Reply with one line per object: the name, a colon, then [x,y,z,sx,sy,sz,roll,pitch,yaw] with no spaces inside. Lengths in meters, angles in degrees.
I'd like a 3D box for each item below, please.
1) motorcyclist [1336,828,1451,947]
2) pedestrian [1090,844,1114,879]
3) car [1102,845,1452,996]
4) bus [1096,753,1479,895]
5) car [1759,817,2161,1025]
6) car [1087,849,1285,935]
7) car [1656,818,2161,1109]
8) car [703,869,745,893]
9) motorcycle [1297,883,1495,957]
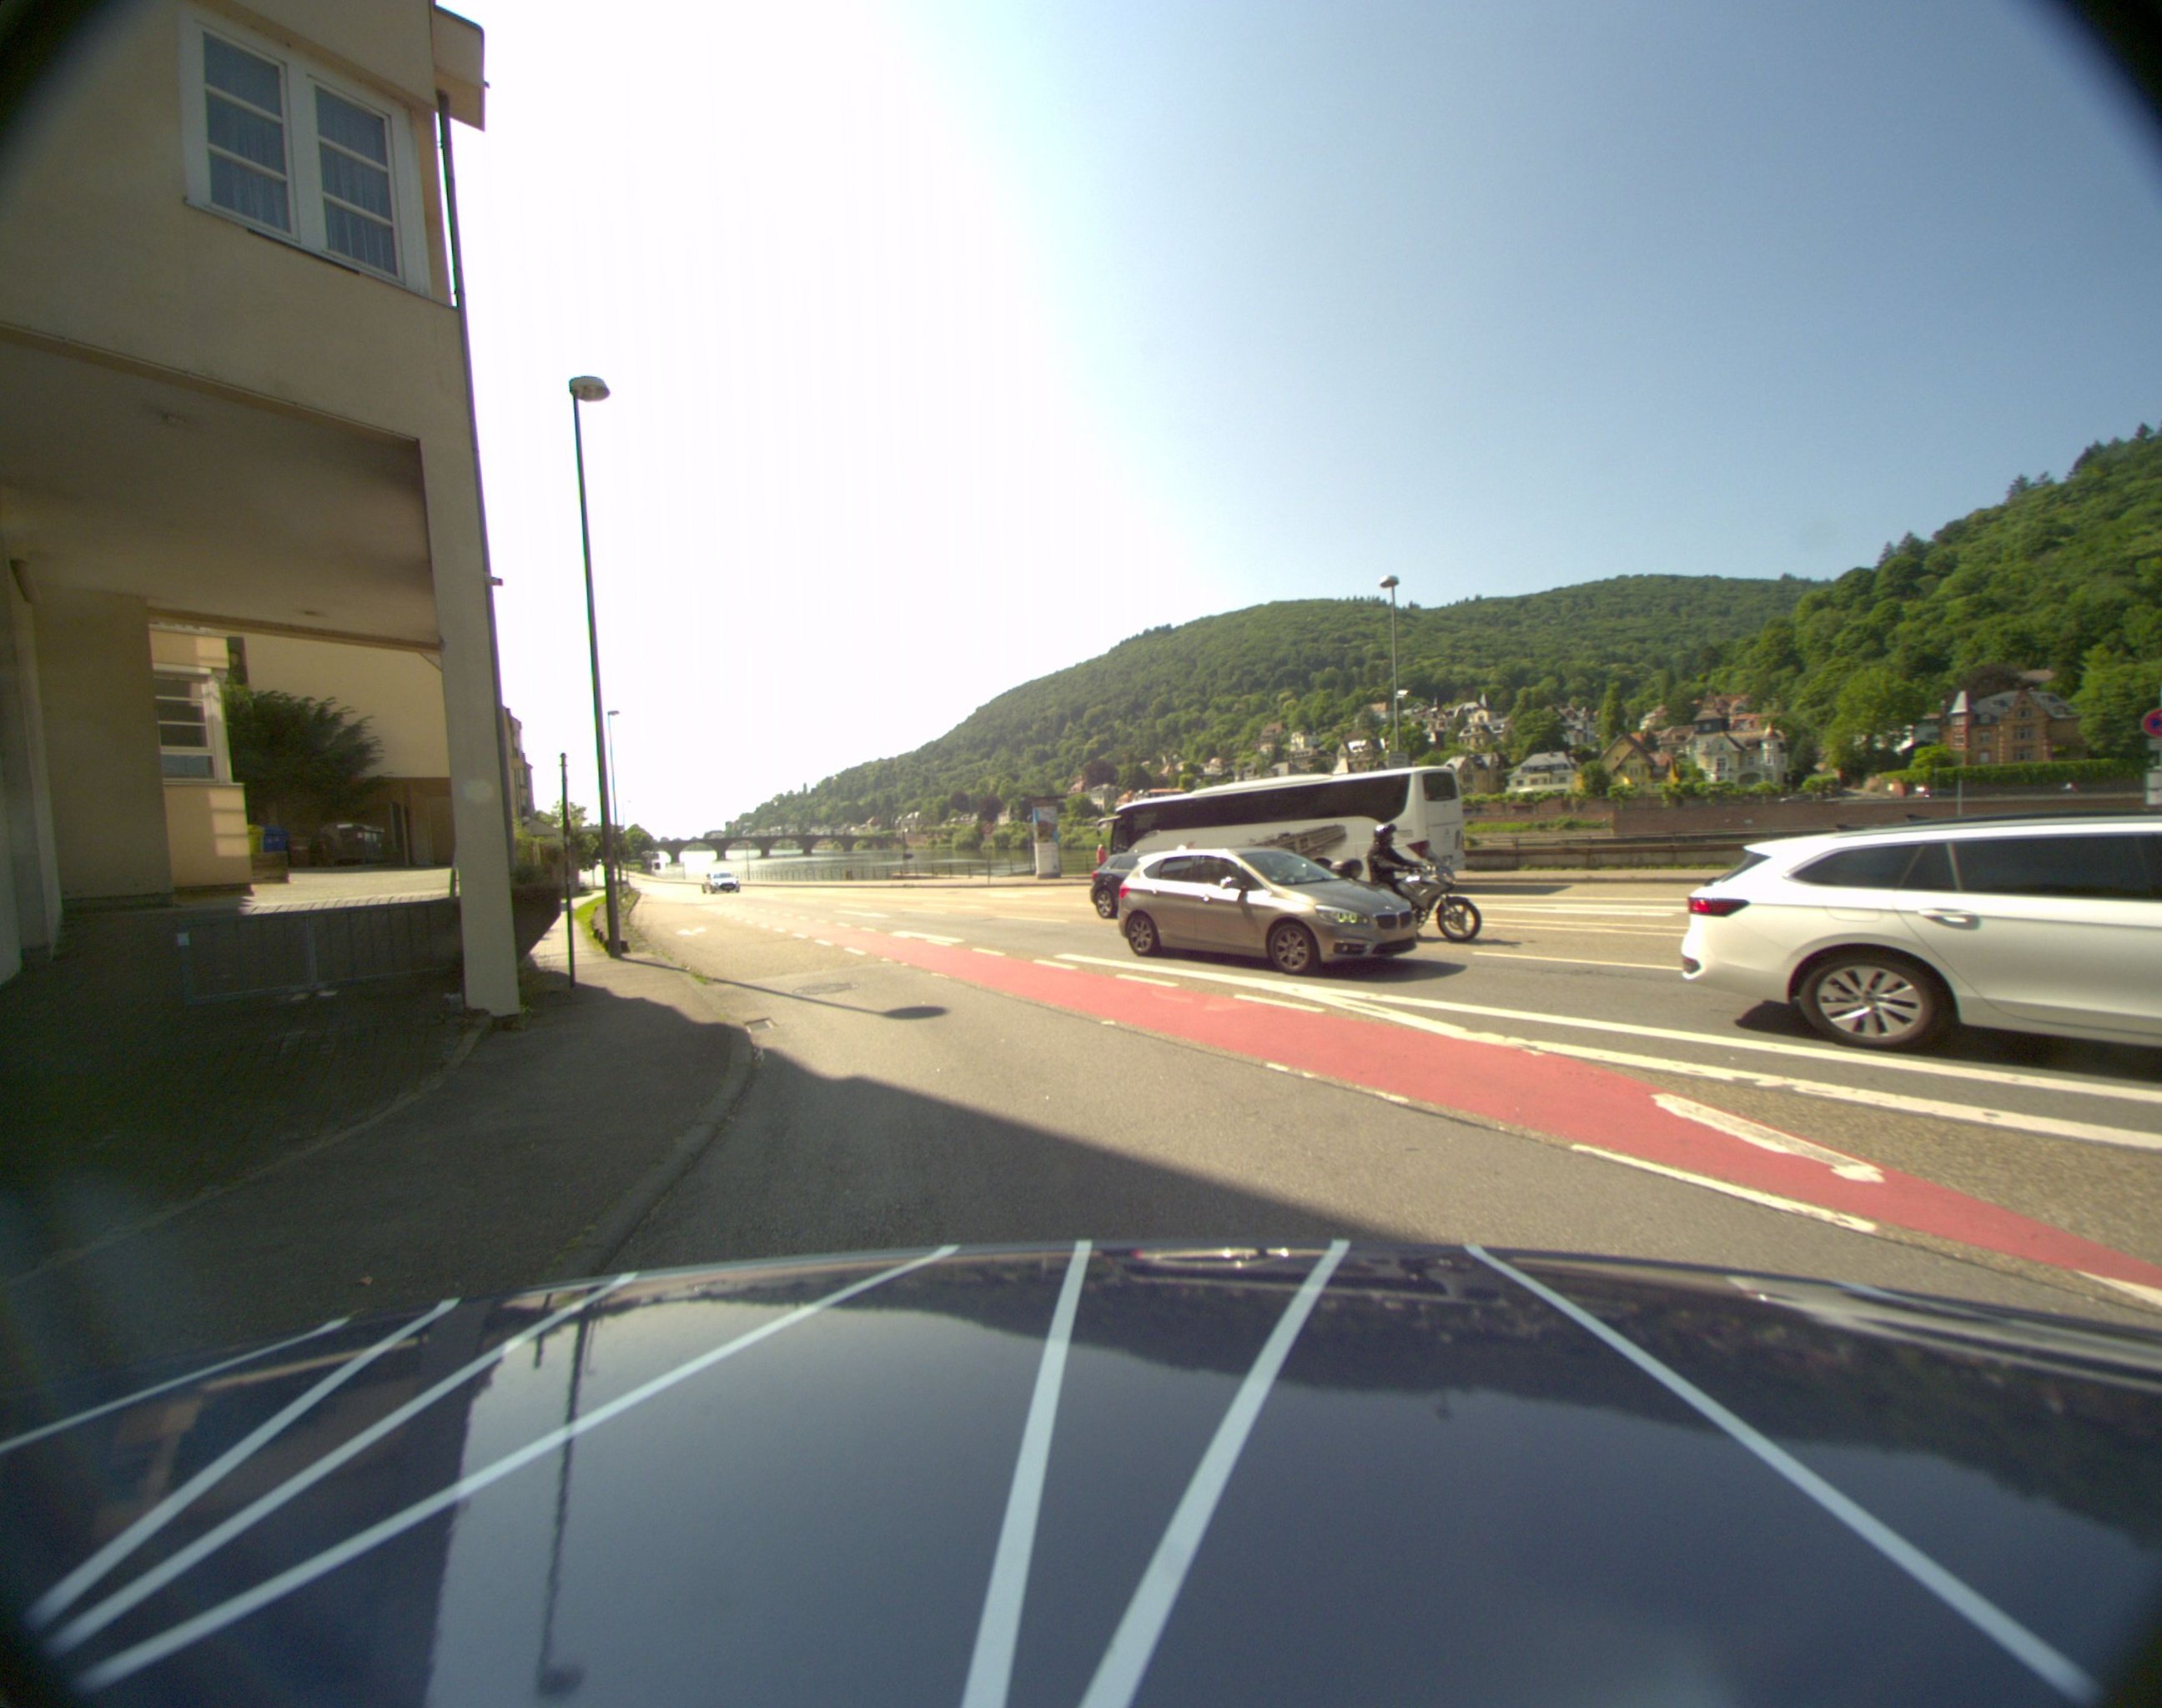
motorcyclist: [4.735,0.480,11.536,1.081,1.674,1.153,-3,1,-36]
pedestrian: [0.985,0.352,36.047,0.814,1.612,0.706,-1,2,45]
car: [2.377,0.720,10.260,1.897,1.512,4.294,-4,1,-36]
bus: [6.203,-0.735,26.457,2.970,3.780,13.209,-8,4,-40]
car: [8.719,0.490,6.542,1.876,1.553,3.990,-3,1,-38]
car: [2.101,0.712,16.314,1.878,1.505,4.140,-4,2,-34]
car: [6.648,0.550,4.436,2.003,1.525,4.846,-3,0,-37]
car: [-24.150,1.792,51.372,2.003,1.434,3.990,-3,1,-33]
motorcycle: [4.717,0.934,11.596,1.043,0.914,2.598,-3,1,-36]
